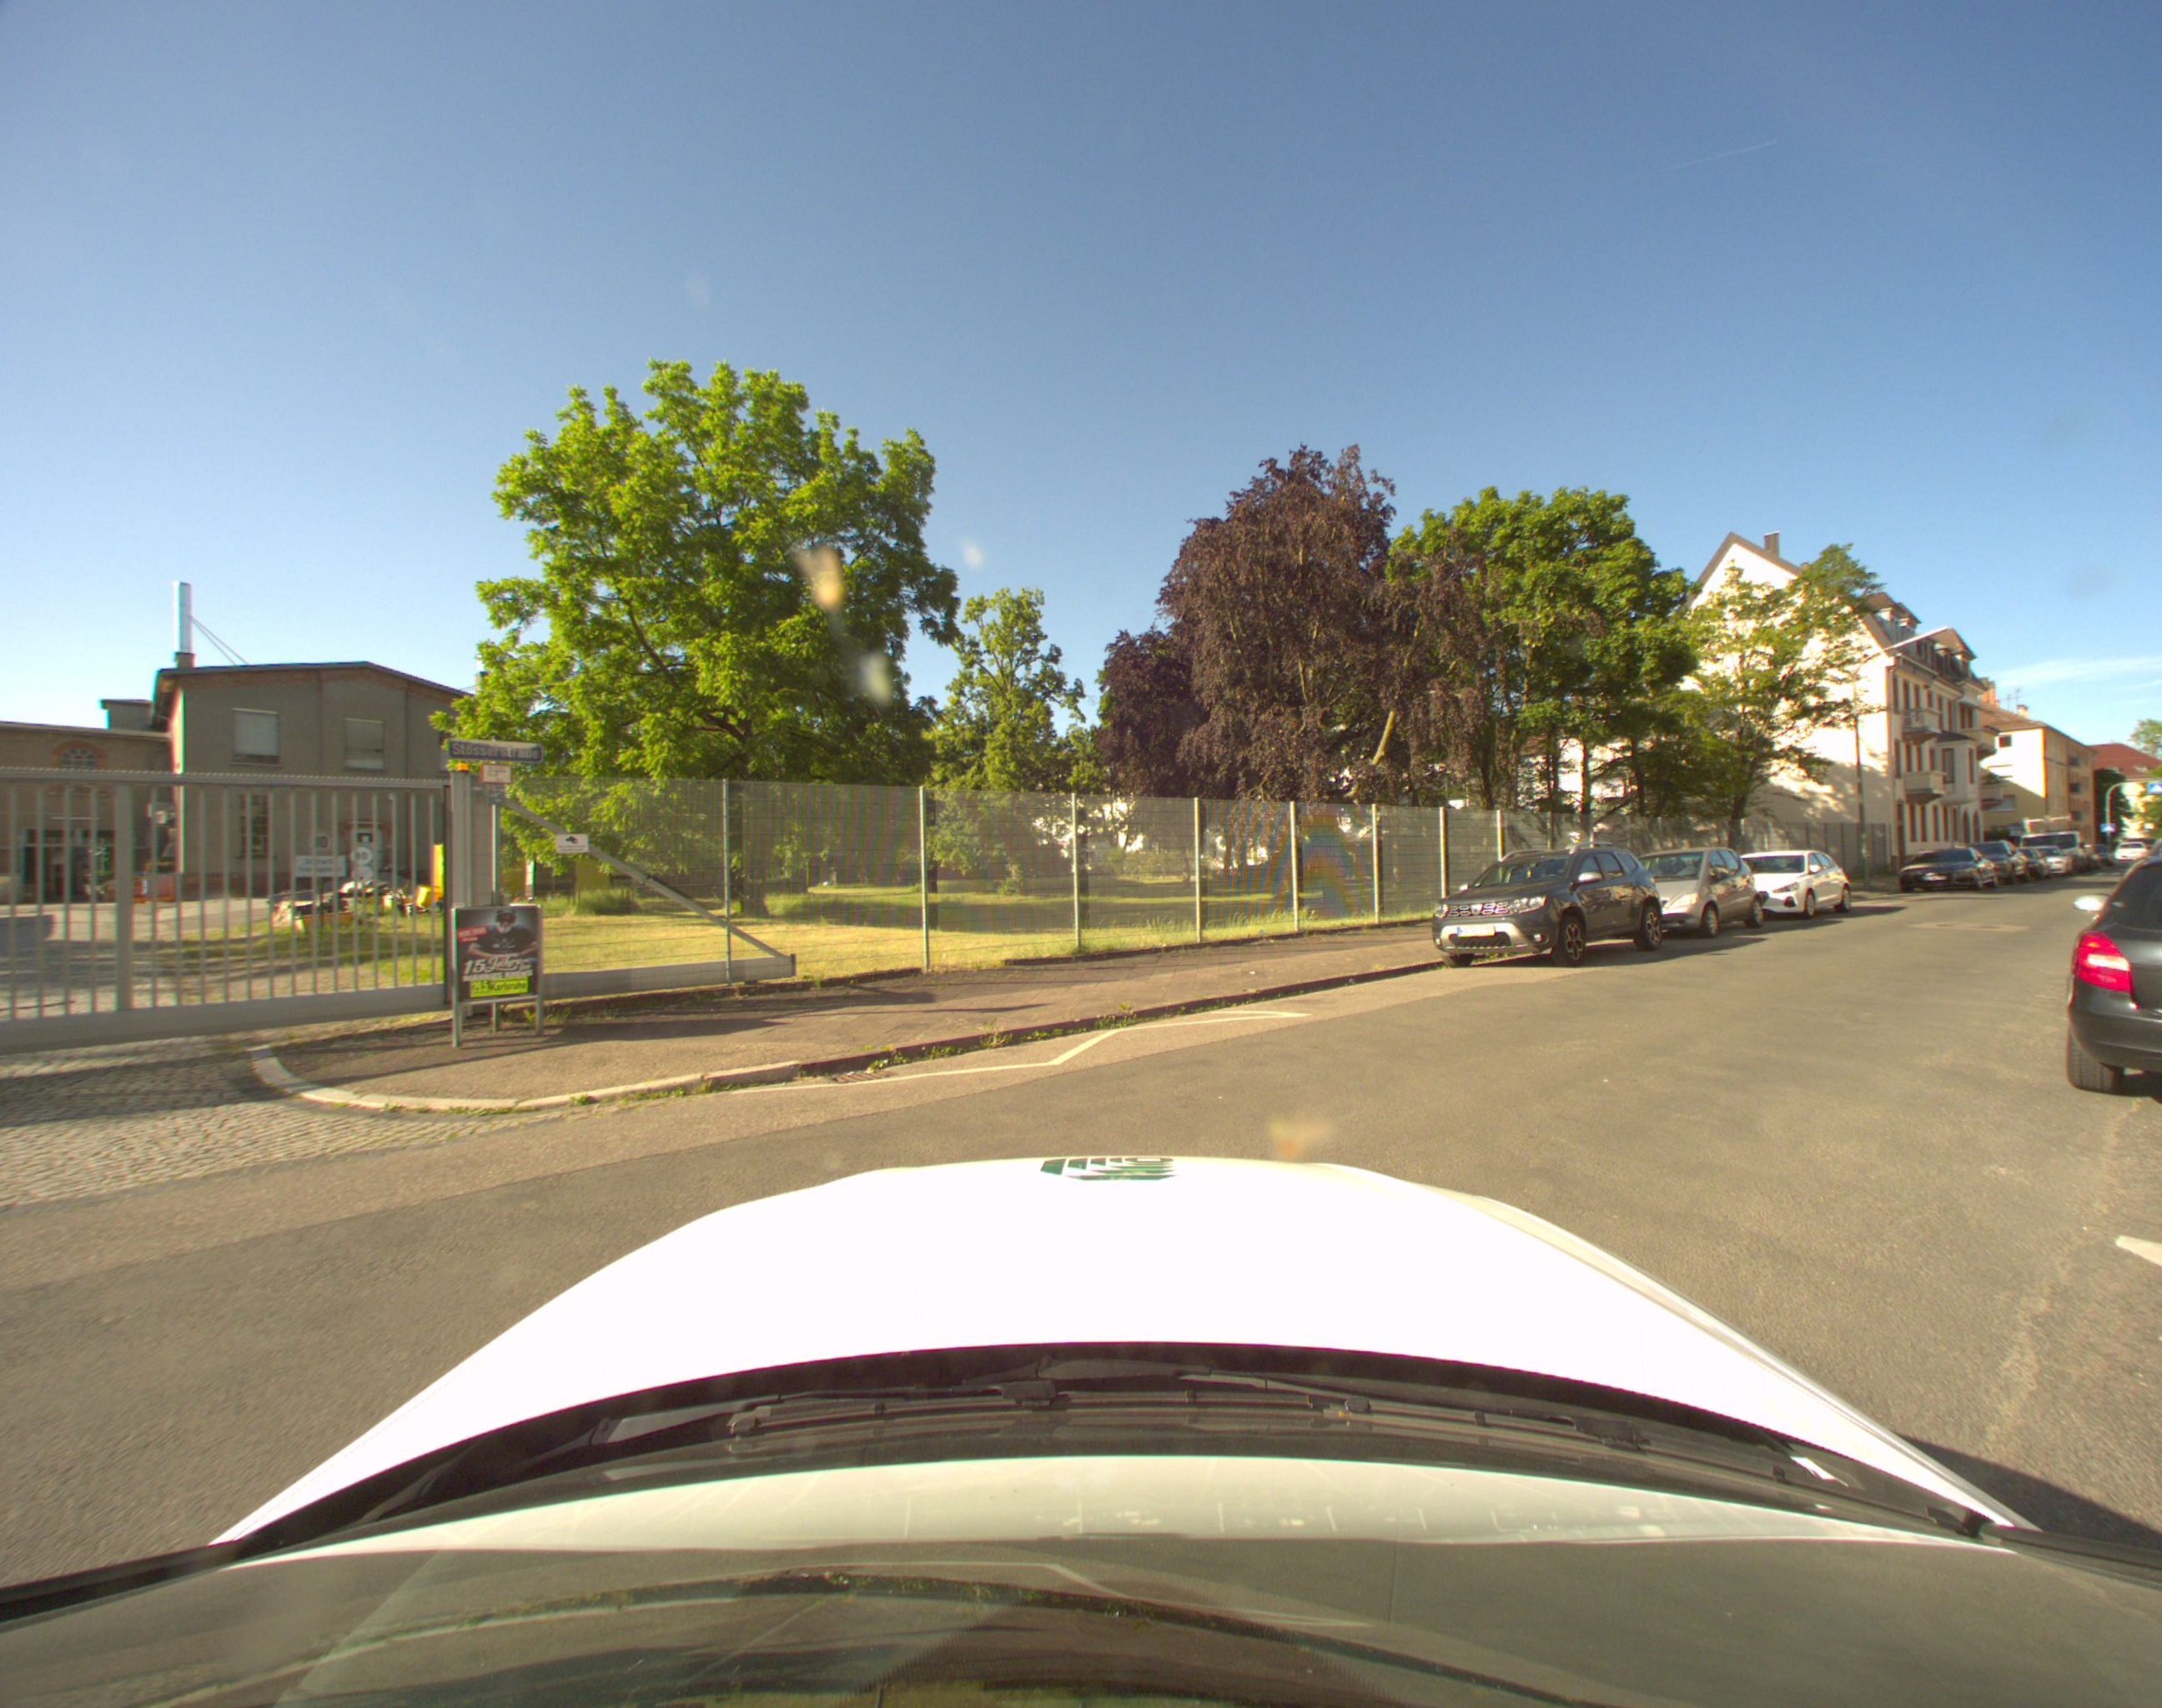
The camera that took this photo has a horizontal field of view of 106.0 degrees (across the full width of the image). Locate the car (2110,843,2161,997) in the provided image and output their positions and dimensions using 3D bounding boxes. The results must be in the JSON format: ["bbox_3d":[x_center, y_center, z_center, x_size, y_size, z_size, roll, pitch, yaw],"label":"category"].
[{"bbox_3d":[12.191,0.612,8.523,3.814,1.484,1.592,0,-1,-36],"label":"car"}]

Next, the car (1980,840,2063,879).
[{"bbox_3d":[39.996,0.228,34.618,4.477,1.563,1.779,0,0,-34],"label":"car"}]

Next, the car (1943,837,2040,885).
[{"bbox_3d":[34.827,0.255,31.113,4.953,1.664,1.864,0,-3,-36],"label":"car"}]

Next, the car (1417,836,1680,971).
[{"bbox_3d":[6.984,0.665,12.021,4.183,1.664,1.698,0,-4,-36],"label":"car"}]

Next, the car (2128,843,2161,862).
[{"bbox_3d":[89.008,-0.140,67.913,4.115,1.480,1.778,-1,-2,-34],"label":"car"}]

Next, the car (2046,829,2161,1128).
[{"bbox_3d":[7.512,0.632,5.086,4.103,1.548,1.605,0,-2,-36],"label":"car"}]

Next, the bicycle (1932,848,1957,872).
[{"bbox_3d":[48.496,0.307,45.732,2.350,1.279,0.565,-1,-1,-35],"label":"bicycle"}]

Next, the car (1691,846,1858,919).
[{"bbox_3d":[15.448,0.595,18.082,4.137,1.445,1.780,-1,-3,-35],"label":"car"}]

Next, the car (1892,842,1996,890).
[{"bbox_3d":[29.450,0.394,27.760,4.522,1.471,1.780,0,-3,-36],"label":"car"}]

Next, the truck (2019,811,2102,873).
[{"bbox_3d":[51.004,-0.542,42.351,7.308,2.986,2.241,0,-2,-36],"label":"truck"}]

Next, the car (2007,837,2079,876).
[{"bbox_3d":[45.344,0.081,38.361,4.662,1.541,1.777,-1,-6,-37],"label":"car"}]

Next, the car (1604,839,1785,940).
[{"bbox_3d":[11.361,0.633,15.034,3.631,1.643,1.551,0,-5,-36],"label":"car"}]
